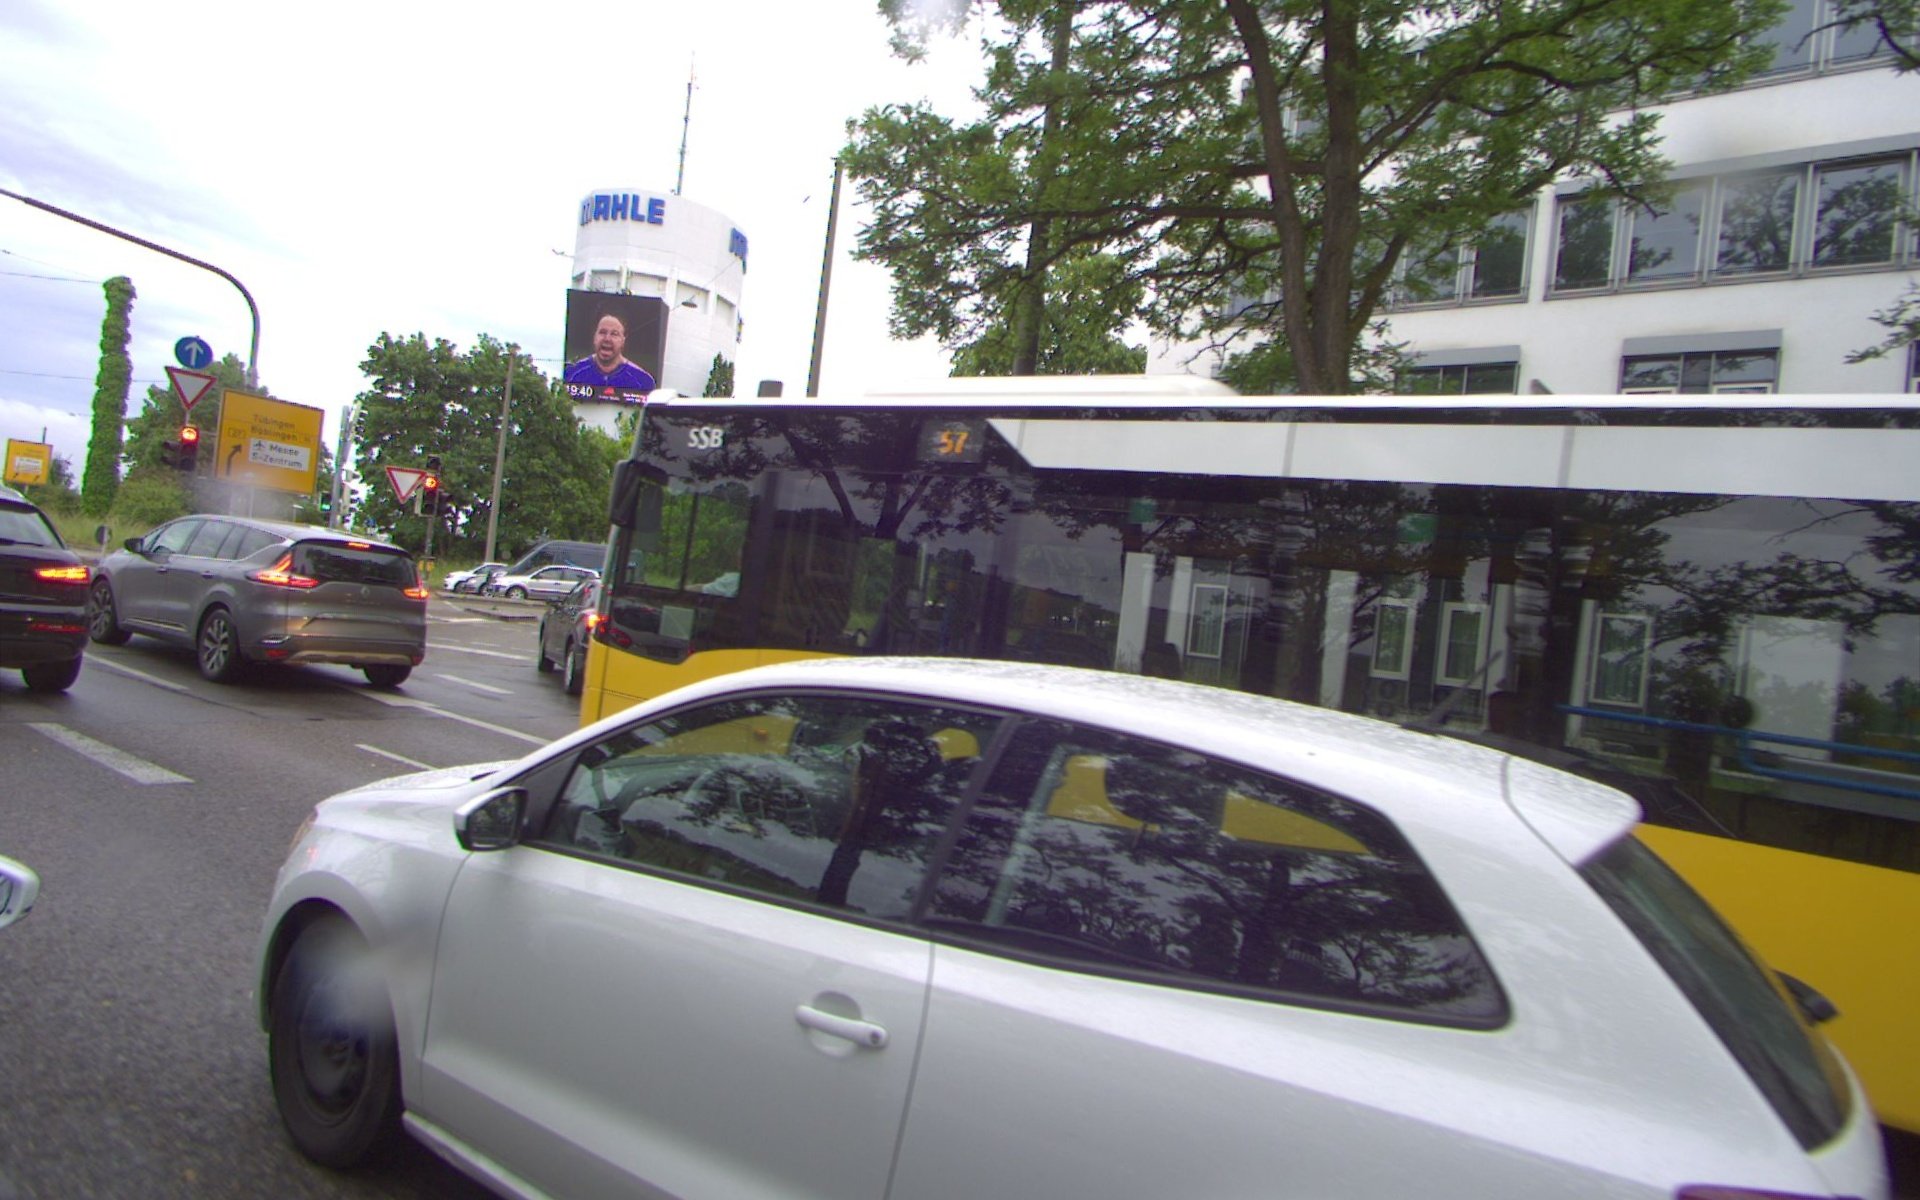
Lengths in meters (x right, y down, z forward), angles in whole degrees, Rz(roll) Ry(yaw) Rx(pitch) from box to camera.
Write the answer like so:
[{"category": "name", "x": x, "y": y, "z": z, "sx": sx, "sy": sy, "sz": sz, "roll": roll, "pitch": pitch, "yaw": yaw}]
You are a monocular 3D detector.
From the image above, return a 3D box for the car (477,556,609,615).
[{"category": "car", "x": -15.231, "y": -0.507, "z": 36.810, "sx": 4.026, "sy": 1.586, "sz": 1.855, "roll": 9, "pitch": -4, "yaw": -35}]

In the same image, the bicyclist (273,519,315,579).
[{"category": "bicyclist", "x": -19.529, "y": -1.474, "z": 29.512, "sx": 0.803, "sy": 1.601, "sz": 1.015, "roll": 8, "pitch": -2, "yaw": -31}]

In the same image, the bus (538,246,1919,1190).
[{"category": "bus", "x": 2.892, "y": 0.381, "z": 5.263, "sx": 11.945, "sy": 3.187, "sz": 2.733, "roll": 7, "pitch": -2, "yaw": 32}]

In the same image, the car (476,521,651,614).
[{"category": "car", "x": -15.688, "y": -1.200, "z": 40.005, "sx": 5.970, "sy": 2.772, "sz": 2.065, "roll": 8, "pitch": -3, "yaw": -32}]

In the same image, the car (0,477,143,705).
[{"category": "car", "x": -8.717, "y": -0.263, "z": 8.152, "sx": 4.045, "sy": 1.613, "sz": 1.889, "roll": 6, "pitch": -3, "yaw": 32}]

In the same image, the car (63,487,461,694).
[{"category": "car", "x": -7.942, "y": -0.145, "z": 11.346, "sx": 4.488, "sy": 1.694, "sz": 1.869, "roll": 7, "pitch": -1, "yaw": 31}]

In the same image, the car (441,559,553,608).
[{"category": "car", "x": -20.426, "y": -0.714, "z": 44.441, "sx": 4.111, "sy": 1.582, "sz": 1.852, "roll": 9, "pitch": -2, "yaw": -38}]

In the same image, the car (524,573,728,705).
[{"category": "car", "x": -4.880, "y": 0.466, "z": 14.291, "sx": 1.850, "sy": 1.516, "sz": 4.120, "roll": 5, "pitch": -1, "yaw": -30}]

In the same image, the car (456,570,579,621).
[{"category": "car", "x": -18.401, "y": -0.187, "z": 41.895, "sx": 4.342, "sy": 1.537, "sz": 1.714, "roll": 9, "pitch": -2, "yaw": -35}]

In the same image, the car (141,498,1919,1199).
[{"category": "car", "x": -0.160, "y": 0.694, "z": 2.620, "sx": 3.748, "sy": 1.447, "sz": 1.745, "roll": 6, "pitch": -3, "yaw": 31}]
